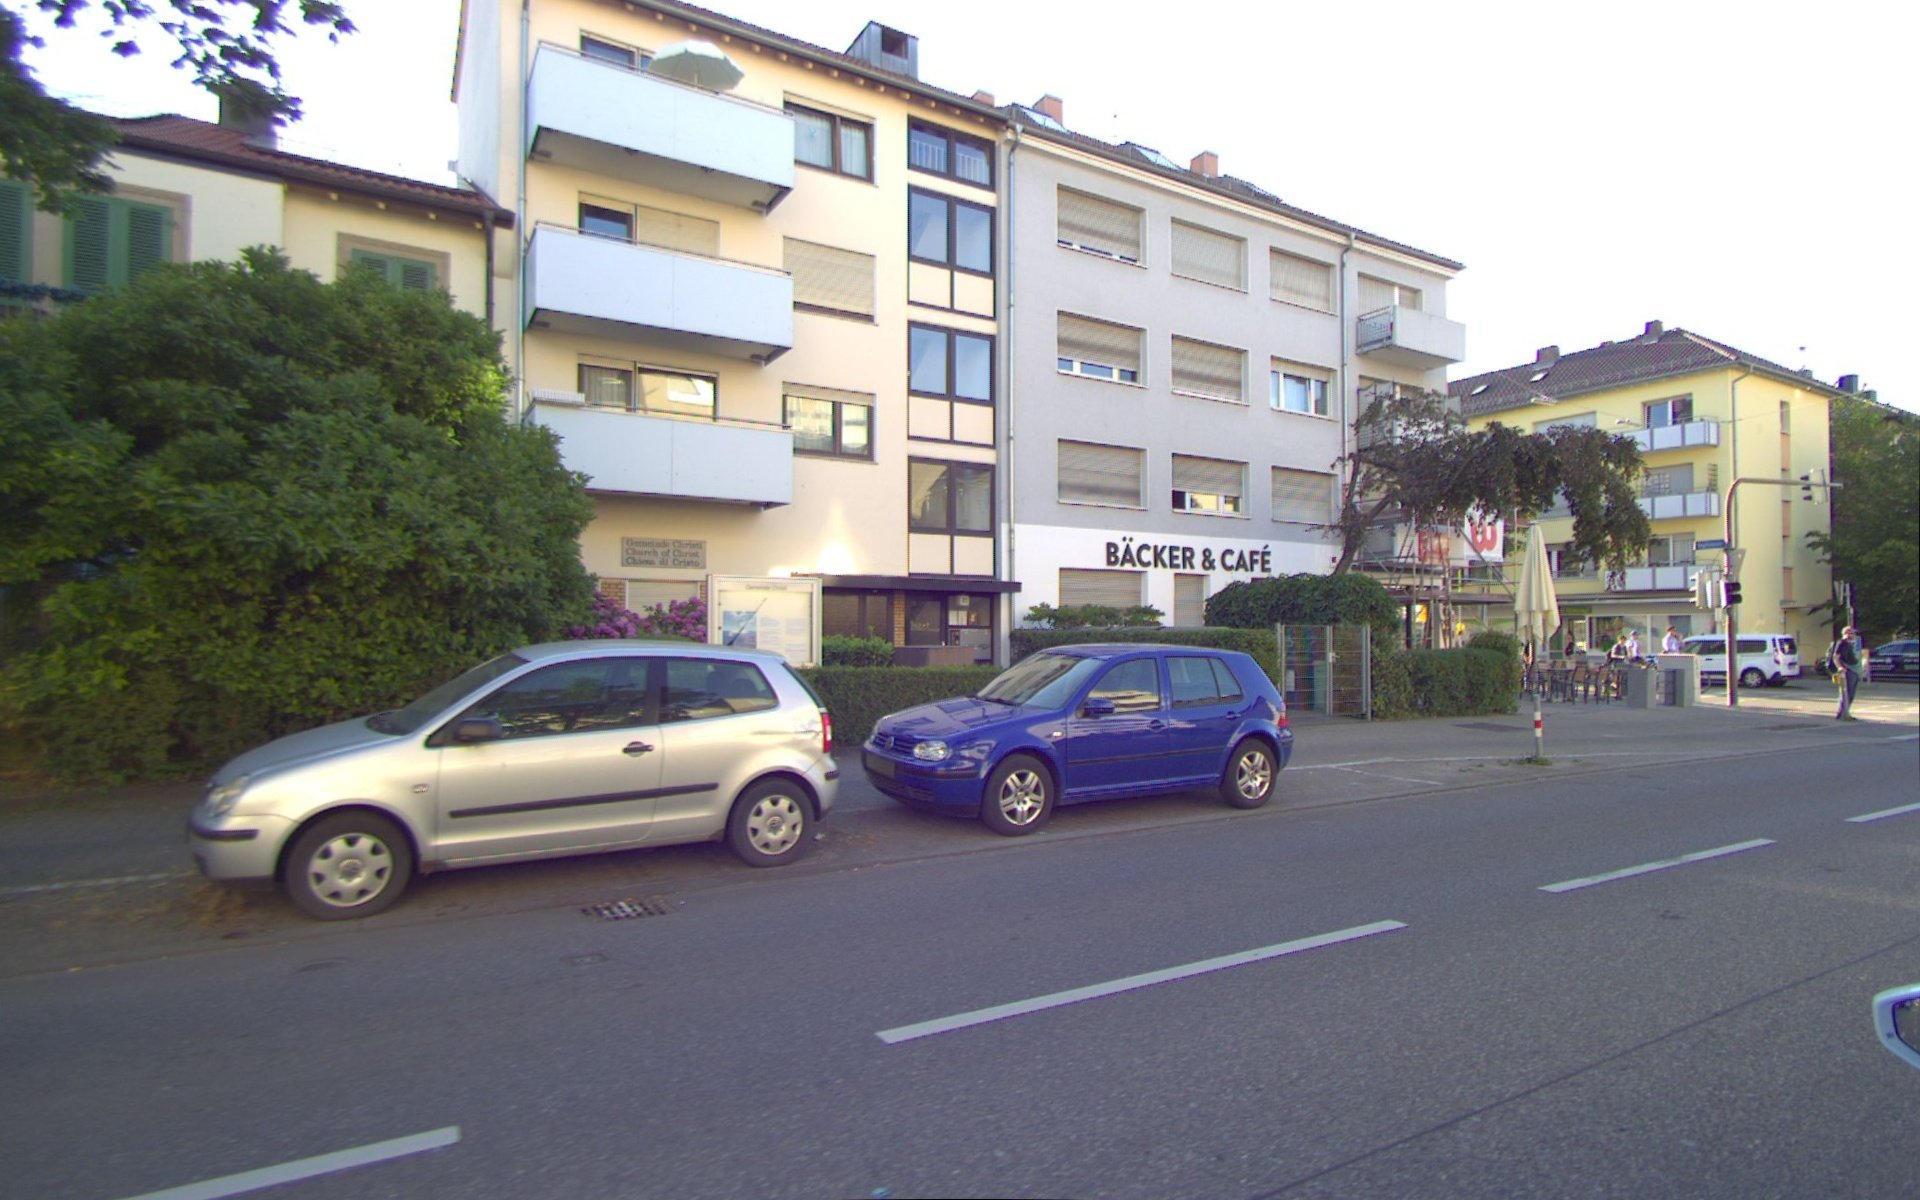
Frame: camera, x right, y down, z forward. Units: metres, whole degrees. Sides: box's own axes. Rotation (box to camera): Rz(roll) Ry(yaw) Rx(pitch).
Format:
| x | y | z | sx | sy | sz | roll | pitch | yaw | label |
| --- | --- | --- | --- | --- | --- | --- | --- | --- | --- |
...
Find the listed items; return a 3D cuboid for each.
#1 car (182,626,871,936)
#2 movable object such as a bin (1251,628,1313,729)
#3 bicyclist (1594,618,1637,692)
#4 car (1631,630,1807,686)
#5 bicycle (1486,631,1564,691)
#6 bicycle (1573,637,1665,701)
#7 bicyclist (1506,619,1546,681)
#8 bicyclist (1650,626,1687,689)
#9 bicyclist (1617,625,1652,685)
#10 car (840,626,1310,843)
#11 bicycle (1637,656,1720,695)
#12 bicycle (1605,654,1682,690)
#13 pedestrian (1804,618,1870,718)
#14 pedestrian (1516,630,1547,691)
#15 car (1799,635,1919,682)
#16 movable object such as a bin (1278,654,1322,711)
| x | y | z | sx | sy | sz | roll | pitch | yaw | label |
| --- | --- | --- | --- | --- | --- | --- | --- | --- | --- |
| -2.640 | 0.965 | 6.656 | 3.759 | 1.490 | 1.585 | 2 | 0 | -31 | car |
| 5.051 | 1.214 | 15.785 | 0.732 | 1.532 | 0.590 | 1 | -2 | -29 | movable object such as a bin |
| 18.422 | 1.524 | 28.225 | 0.835 | 2.040 | 0.721 | 1 | -2 | -33 | bicyclist |
| 26.575 | 2.000 | 35.353 | 1.840 | 1.835 | 4.612 | 1 | -2 | -30 | car |
| 16.907 | 1.811 | 30.096 | 0.749 | 1.728 | 1.909 | 1 | -2 | -32 | bicycle |
| 18.408 | 1.903 | 28.101 | 0.749 | 1.728 | 2.011 | 1 | -2 | -32 | bicycle |
| 16.937 | 1.479 | 30.050 | 0.702 | 1.823 | 0.782 | 1 | -2 | -32 | bicyclist |
| 21.247 | 1.711 | 30.115 | 0.648 | 1.847 | 0.733 | 2 | -2 | -39 | bicyclist |
| 21.315 | 1.725 | 31.753 | 0.648 | 1.847 | 0.733 | 2 | -2 | -39 | bicyclist |
| 1.111 | 1.036 | 9.003 | 4.026 | 1.537 | 1.640 | 2 | -1 | -31 | car |
| 21.402 | 2.237 | 29.946 | 0.713 | 1.085 | 1.884 | 2 | -3 | -39 | bicycle |
| 21.456 | 2.250 | 31.565 | 0.713 | 1.085 | 1.884 | 2 | -3 | -39 | bicycle |
| 18.115 | 1.393 | 20.753 | 0.811 | 2.014 | 0.776 | 1 | -2 | -30 | pedestrian |
| 16.261 | 1.704 | 28.576 | 0.638 | 1.697 | 0.573 | 2 | -2 | -40 | pedestrian |
| 33.144 | 2.059 | 35.827 | 1.840 | 1.555 | 4.611 | 1 | -1 | -30 | car |
| 6.034 | 1.456 | 17.831 | 0.434 | 0.981 | 0.601 | 1 | -2 | -30 | movable object such as a bin |
